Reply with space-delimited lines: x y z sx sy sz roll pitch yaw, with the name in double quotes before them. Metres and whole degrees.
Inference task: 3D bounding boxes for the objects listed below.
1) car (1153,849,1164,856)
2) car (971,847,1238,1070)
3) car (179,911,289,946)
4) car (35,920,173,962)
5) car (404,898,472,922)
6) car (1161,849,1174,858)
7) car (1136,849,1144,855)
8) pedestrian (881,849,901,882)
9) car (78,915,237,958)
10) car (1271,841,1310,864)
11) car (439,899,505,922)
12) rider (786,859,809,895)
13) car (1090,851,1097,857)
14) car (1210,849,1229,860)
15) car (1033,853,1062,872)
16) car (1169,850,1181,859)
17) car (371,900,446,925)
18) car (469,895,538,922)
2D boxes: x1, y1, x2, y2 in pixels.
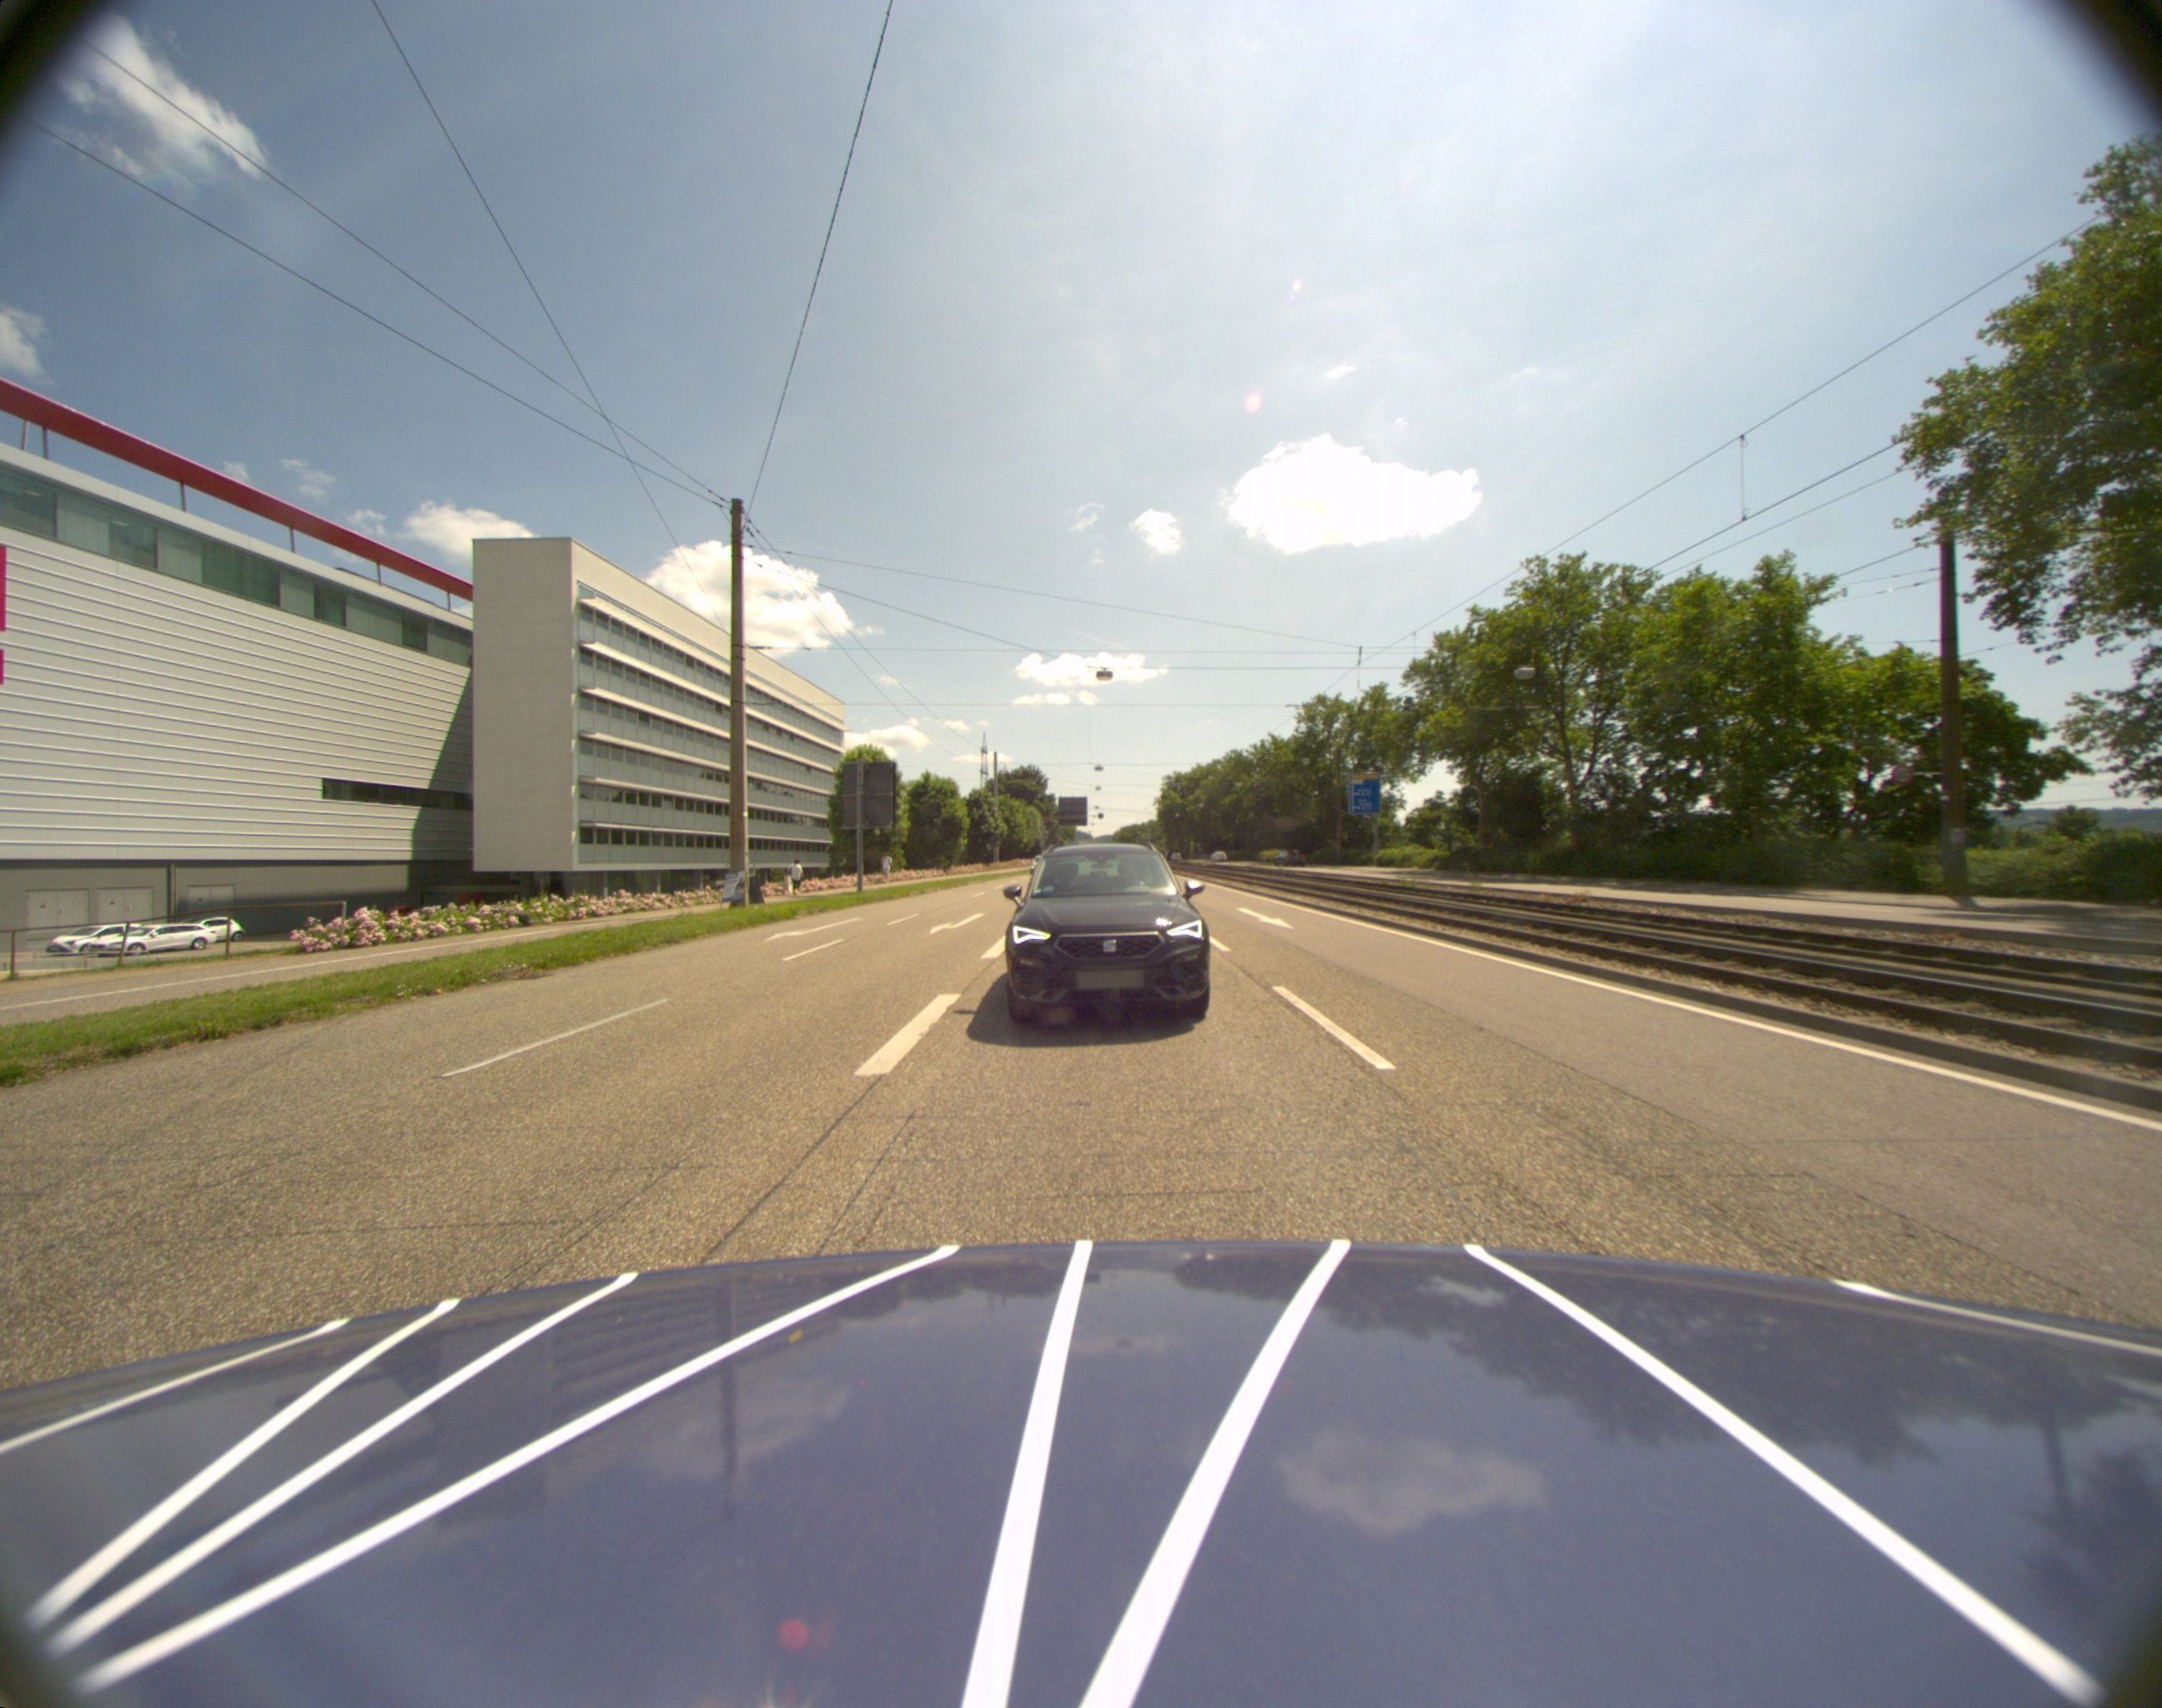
"car" 19.648 -0.374 192.528 1.999 1.660 4.467 1 0 -2
"car" 0.202 0.740 7.772 1.898 1.564 4.511 -1 1 1
"car" -50.829 4.460 45.730 1.998 1.603 3.999 -2 1 1
"car" -51.228 4.521 39.969 1.998 1.603 3.999 -2 1 1
"car" -48.121 4.172 56.985 1.648 1.377 3.999 -2 1 1
"car" 18.188 -0.130 159.689 1.999 1.820 4.968 1 0 -1
"car" 18.320 -0.550 237.298 1.999 1.820 4.968 1 0 -1
"pedestrian" -10.739 0.636 42.925 0.758 1.838 0.931 -2 1 3
"car" -48.536 4.267 40.155 1.998 1.603 5.146 -2 1 1
"car" 18.469 -0.149 67.090 1.999 1.907 4.409 -2 1 -3
"car" -45.446 4.191 56.791 1.609 1.314 3.999 -2 1 1
"rider" -11.824 0.952 31.666 0.671 1.449 0.618 -2 1 1
"car" 3.614 -0.071 217.472 1.998 1.641 4.000 -2 1 1
"car" 18.839 0.023 103.411 1.827 1.407 3.884 1 0 1
"car" -2.522 0.628 58.084 1.896 1.331 4.000 -2 1 1
"car" 17.797 0.030 144.459 1.690 1.574 4.058 2 0 -1
"car" -50.432 4.374 57.129 1.998 1.439 3.999 -2 1 1
"car" -43.140 4.049 56.874 1.998 1.603 3.999 -2 1 1
